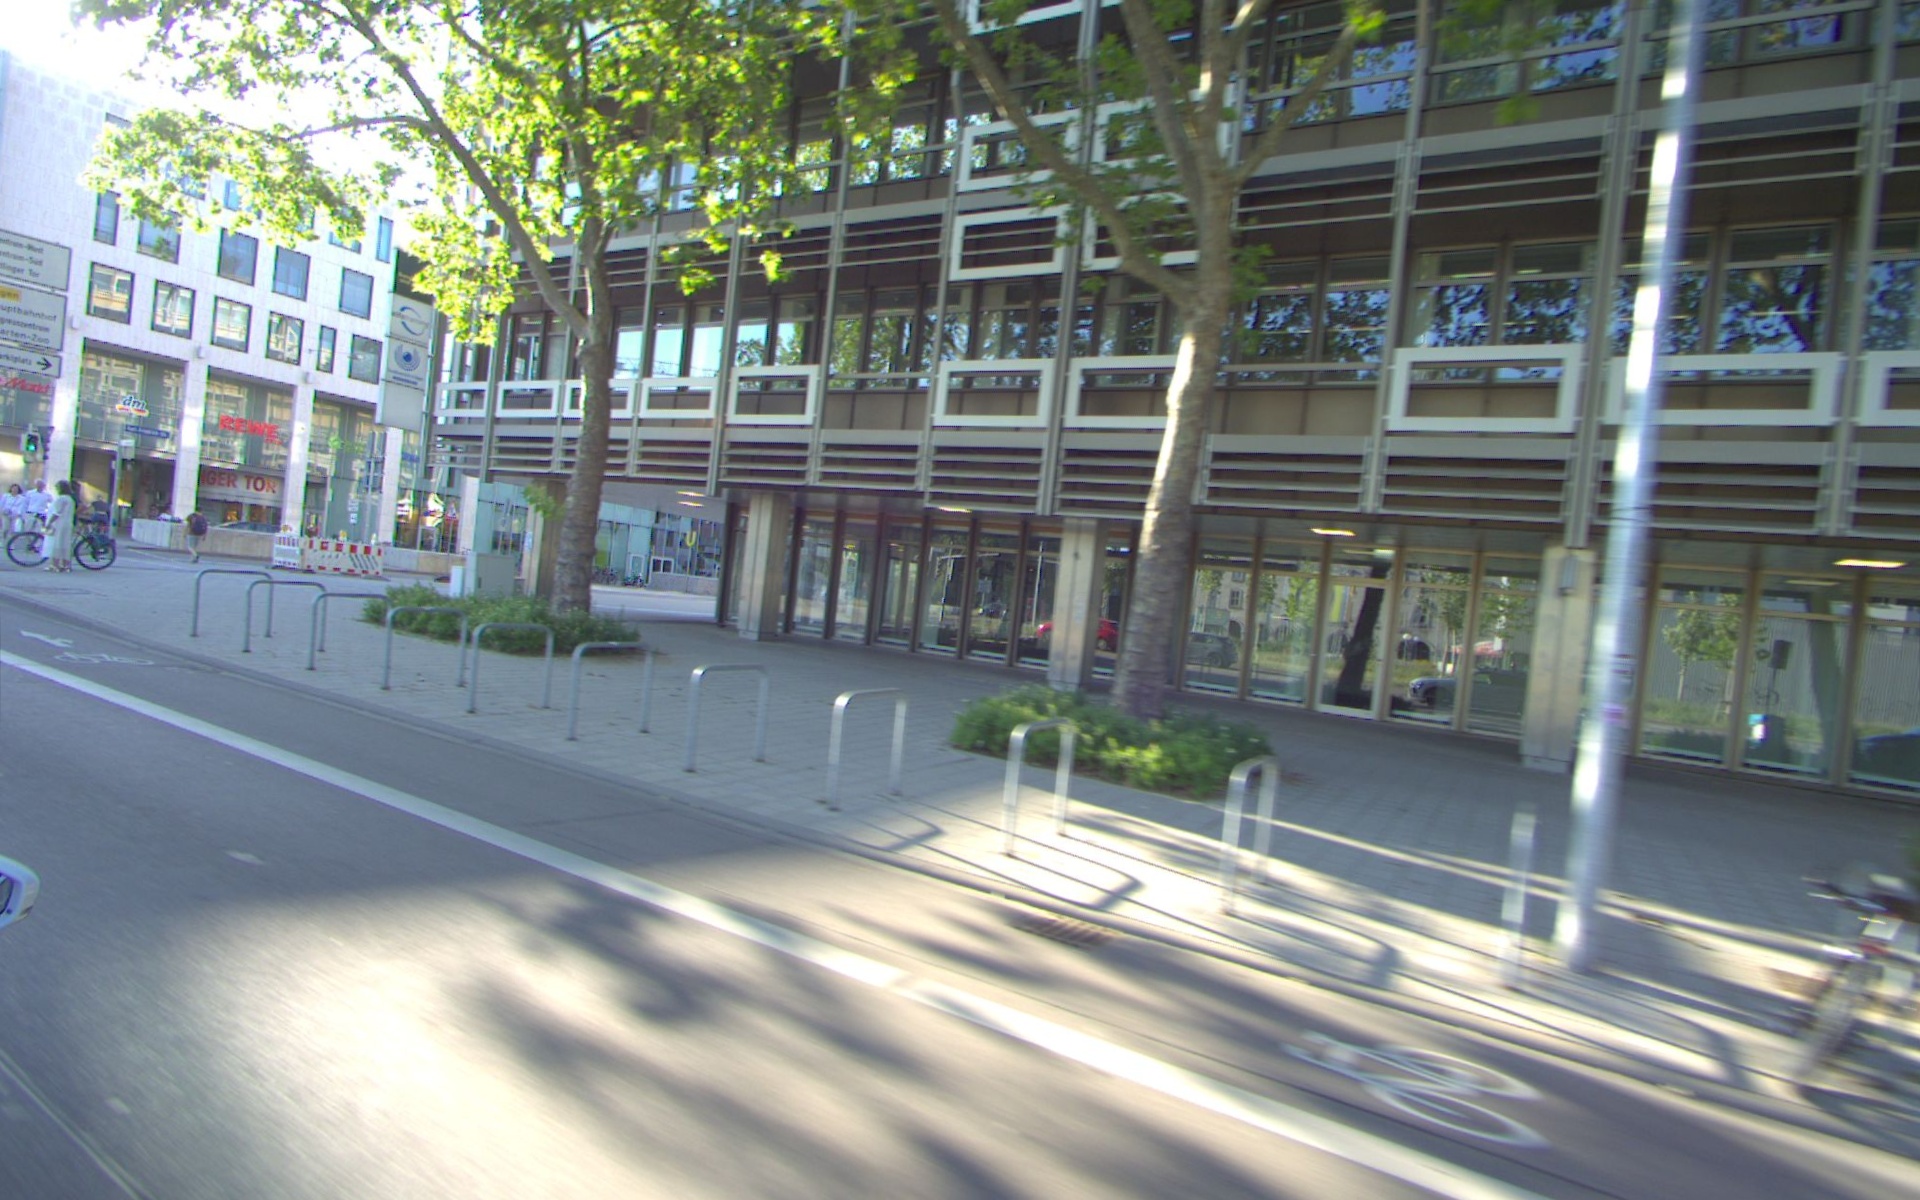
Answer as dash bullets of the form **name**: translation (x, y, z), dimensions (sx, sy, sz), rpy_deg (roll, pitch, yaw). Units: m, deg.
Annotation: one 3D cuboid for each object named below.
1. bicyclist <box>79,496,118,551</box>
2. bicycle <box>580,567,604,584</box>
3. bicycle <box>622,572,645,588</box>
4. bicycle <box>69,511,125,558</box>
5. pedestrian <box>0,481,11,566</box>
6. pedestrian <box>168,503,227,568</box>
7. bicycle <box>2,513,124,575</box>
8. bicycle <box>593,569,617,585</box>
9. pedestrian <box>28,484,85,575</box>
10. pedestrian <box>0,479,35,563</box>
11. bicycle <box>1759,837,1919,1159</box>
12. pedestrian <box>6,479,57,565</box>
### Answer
- **bicyclist**: translation (-26.086, -2.316, 30.465), dimensions (0.737, 1.541, 0.579), rpy_deg (7, 1, 31)
- **bicycle**: translation (-24.708, -1.645, 67.548), dimensions (1.611, 0.945, 0.541), rpy_deg (7, 1, 30)
- **bicycle**: translation (-23.116, -1.424, 71.166), dimensions (1.611, 0.945, 0.541), rpy_deg (7, 1, 30)
- **bicycle**: translation (-26.207, -1.995, 30.526), dimensions (2.118, 1.247, 0.592), rpy_deg (7, 0, 32)
- **pedestrian**: translation (-19.979, -1.598, 20.588), dimensions (0.560, 1.725, 0.634), rpy_deg (7, 3, 31)
- **pedestrian**: translation (-22.321, -1.891, 29.443), dimensions (1.095, 1.724, 0.910), rpy_deg (7, 1, 32)
- **bicycle**: translation (-18.641, -1.141, 20.948), dimensions (0.471, 1.100, 1.804), rpy_deg (7, 1, 32)
- **bicycle**: translation (-24.319, -1.591, 68.899), dimensions (1.611, 0.945, 0.541), rpy_deg (7, 1, 30)
- **pedestrian**: translation (-17.984, -1.391, 20.025), dimensions (0.560, 1.725, 0.634), rpy_deg (7, 3, 31)
- **pedestrian**: translation (-24.611, -2.067, 26.050), dimensions (0.785, 2.088, 0.765), rpy_deg (7, 3, 37)
- **bicycle**: translation (4.004, 1.678, 4.520), dimensions (0.564, 0.878, 1.689), rpy_deg (7, 2, 38)
- **pedestrian**: translation (-23.731, -1.980, 25.713), dimensions (0.785, 2.088, 0.765), rpy_deg (7, 3, 37)
